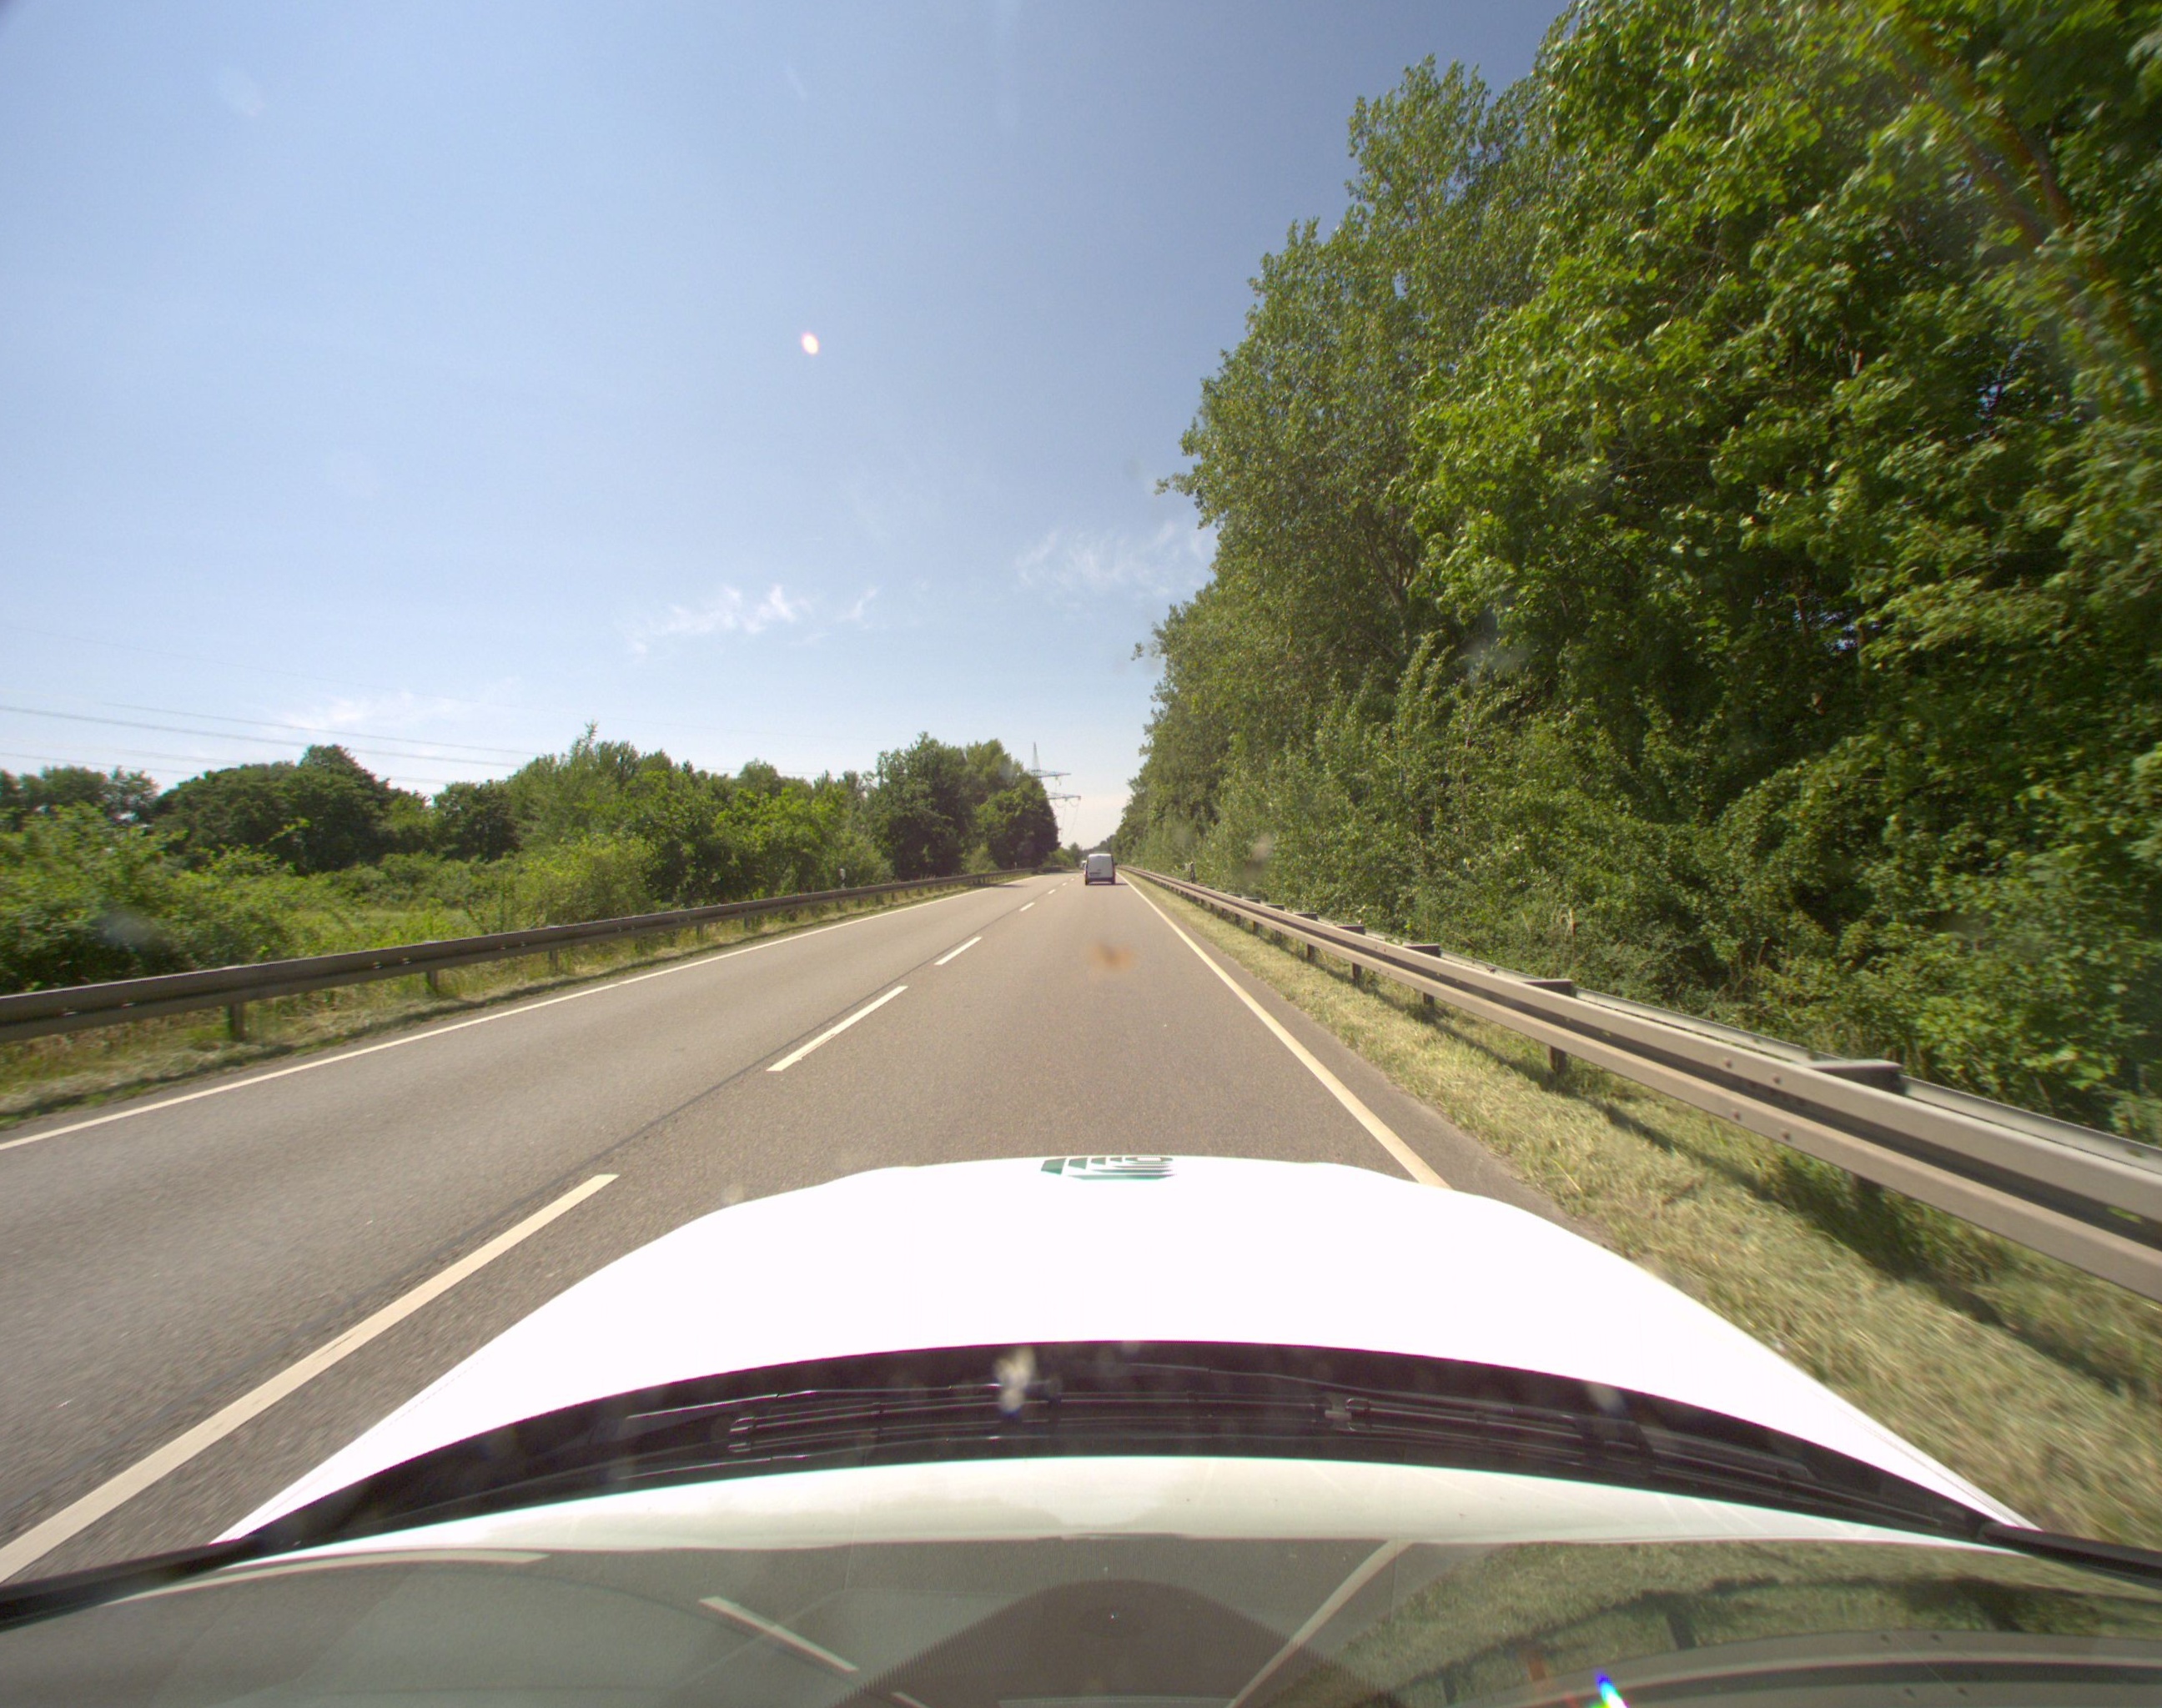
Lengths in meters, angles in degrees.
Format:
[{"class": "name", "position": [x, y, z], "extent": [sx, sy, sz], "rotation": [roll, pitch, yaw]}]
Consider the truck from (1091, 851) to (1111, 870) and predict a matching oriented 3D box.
[{"class": "truck", "position": [3.573, 1.107, 146.160], "extent": [3.285, 3.172, 14.407], "rotation": [-1, 0, 1]}]

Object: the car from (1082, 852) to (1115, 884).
[{"class": "car", "position": [1.027, 0.792, 47.463], "extent": [1.868, 1.741, 4.001], "rotation": [-1, 0, 1]}]
